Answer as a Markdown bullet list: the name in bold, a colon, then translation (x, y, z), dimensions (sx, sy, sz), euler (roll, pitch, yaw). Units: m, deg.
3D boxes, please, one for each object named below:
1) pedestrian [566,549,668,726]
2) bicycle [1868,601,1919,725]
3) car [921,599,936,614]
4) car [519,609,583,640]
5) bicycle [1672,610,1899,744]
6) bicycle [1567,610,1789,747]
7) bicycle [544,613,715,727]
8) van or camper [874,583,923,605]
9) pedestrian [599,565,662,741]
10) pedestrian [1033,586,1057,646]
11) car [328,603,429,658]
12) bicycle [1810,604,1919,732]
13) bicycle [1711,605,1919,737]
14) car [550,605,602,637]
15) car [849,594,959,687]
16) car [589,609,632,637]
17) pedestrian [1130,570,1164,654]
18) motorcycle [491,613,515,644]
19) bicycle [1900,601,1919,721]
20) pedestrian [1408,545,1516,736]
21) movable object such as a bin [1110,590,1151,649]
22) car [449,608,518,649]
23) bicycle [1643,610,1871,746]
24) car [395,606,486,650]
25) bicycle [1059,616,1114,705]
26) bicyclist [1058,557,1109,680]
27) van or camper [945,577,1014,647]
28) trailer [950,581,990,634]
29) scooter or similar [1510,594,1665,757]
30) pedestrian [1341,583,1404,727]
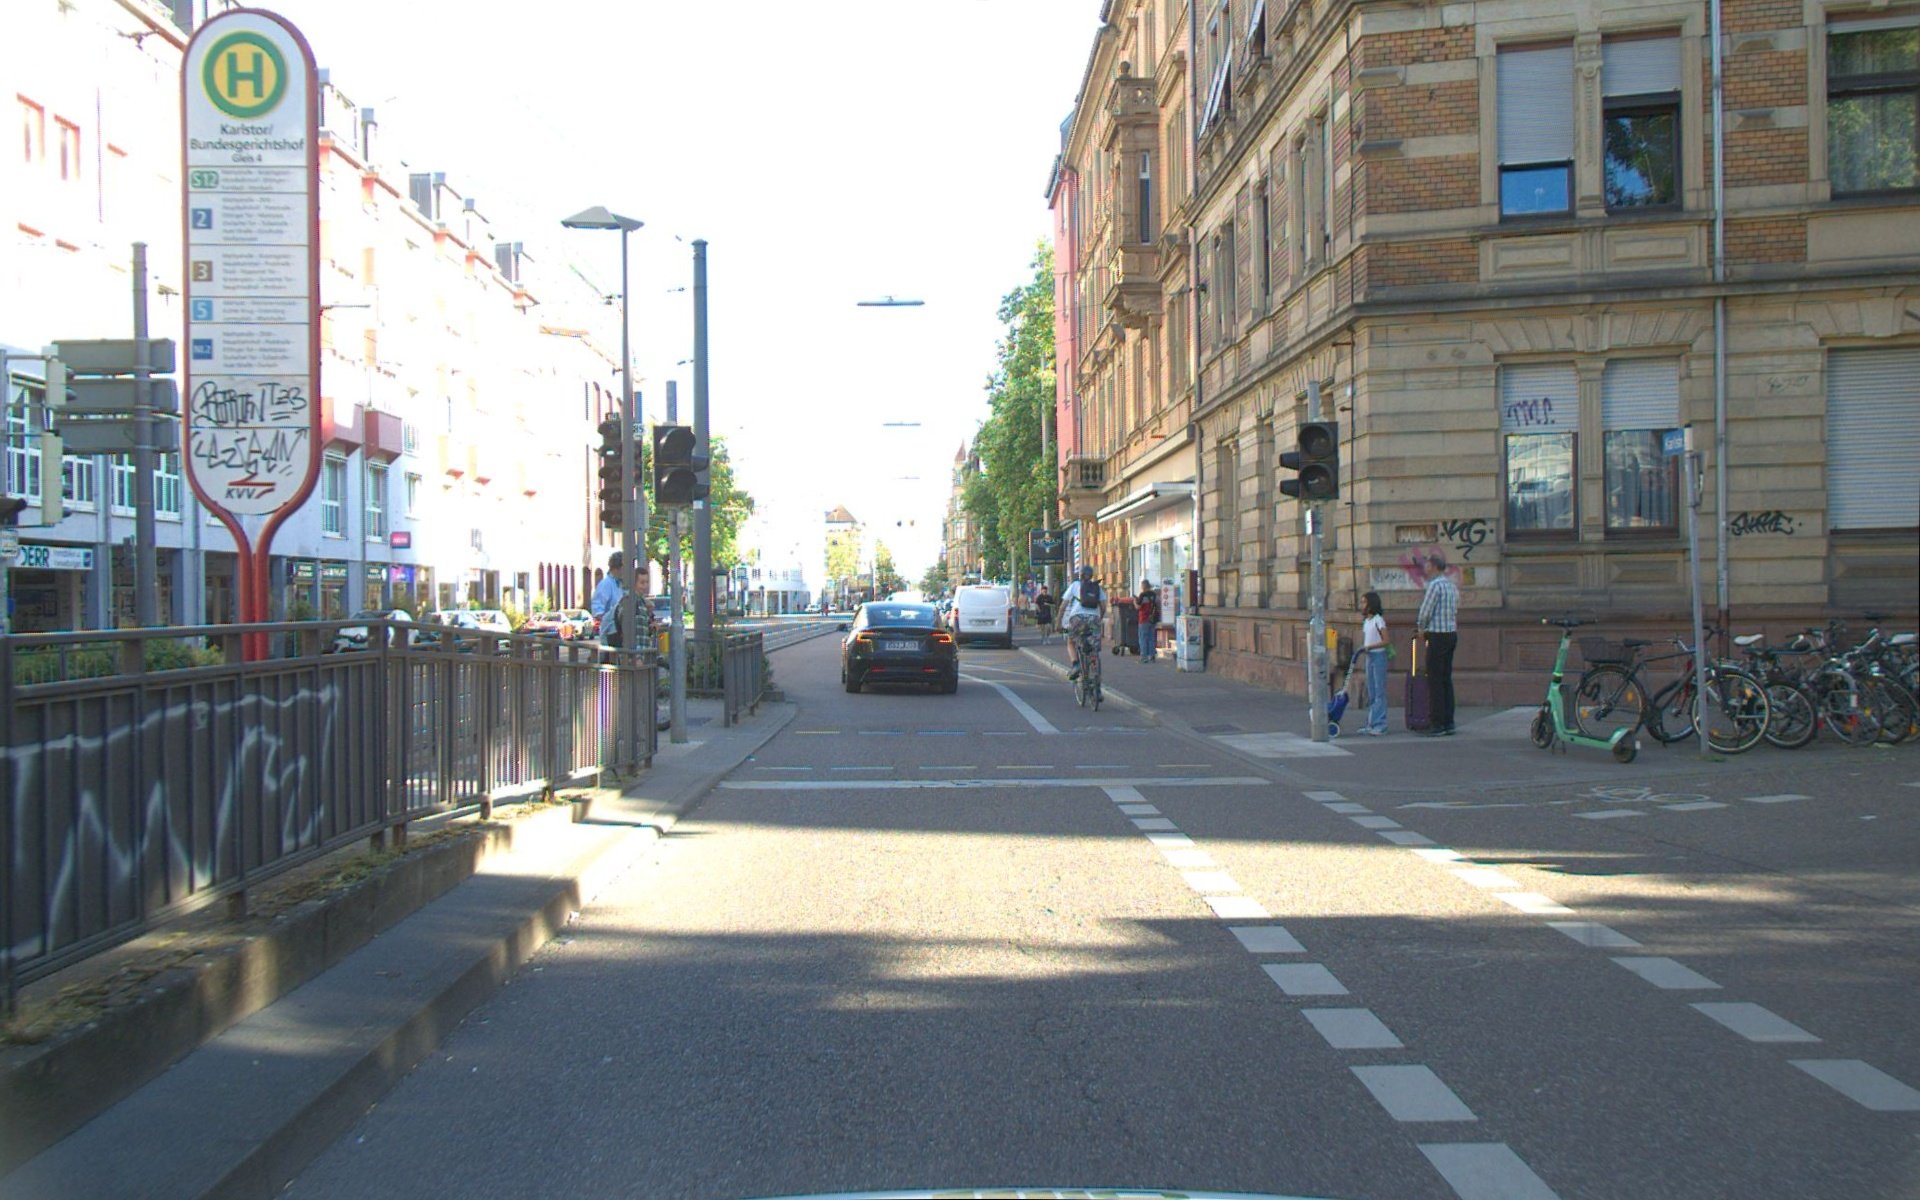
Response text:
- **pedestrian**: translation (-3.688, 0.388, 17.830), dimensions (0.582, 1.853, 0.940), euler (1, 0, 31)
- **bicycle**: translation (9.296, 0.572, 15.028), dimensions (0.440, 1.134, 1.787), euler (-1, 0, -42)
- **car**: translation (-3.288, 0.697, 173.655), dimensions (1.561, 1.458, 3.685), euler (-1, -1, -1)
- **car**: translation (-18.632, 1.099, 75.525), dimensions (1.921, 1.348, 4.818), euler (1, 0, -2)
- **bicycle**: translation (7.415, 0.664, 14.926), dimensions (0.440, 1.134, 1.787), euler (-1, 0, -42)
- **bicycle**: translation (6.349, 0.669, 14.713), dimensions (0.440, 1.134, 1.787), euler (-1, 0, -41)
- **bicycle**: translation (-3.593, 0.738, 17.929), dimensions (1.904, 1.113, 0.597), euler (2, 0, 32)
- **van or camper**: translation (-8.459, -0.832, 226.942), dimensions (6.809, 2.700, 2.118), euler (-2, 0, -38)
- **pedestrian**: translation (-3.121, 0.491, 15.715), dimensions (0.508, 1.618, 0.665), euler (2, -1, -11)
- **pedestrian**: translation (2.617, 0.492, 50.982), dimensions (0.659, 1.846, 0.755), euler (-1, -1, -2)
- **car**: translation (-18.248, 0.917, 52.092), dimensions (1.879, 1.642, 4.366), euler (-1, 0, -4)
- **bicycle**: translation (8.705, 0.608, 14.932), dimensions (0.440, 1.134, 1.787), euler (-1, 0, -42)
- **bicycle**: translation (7.868, 0.624, 15.137), dimensions (0.440, 1.134, 1.787), euler (-1, 0, -42)
- **car**: translation (-18.787, 0.998, 81.131), dimensions (1.635, 1.494, 4.289), euler (1, 0, -2)
- **car**: translation (-0.941, 0.623, 27.352), dimensions (1.685, 1.430, 3.708), euler (0, 0, -2)
- **car**: translation (-19.117, 1.240, 90.624), dimensions (1.625, 1.447, 3.619), euler (1, 0, -2)
- **pedestrian**: translation (3.964, 0.252, 34.992), dimensions (0.461, 1.759, 0.586), euler (-1, 1, 34)
- **motorcycle**: translation (-20.108, 1.240, 72.792), dimensions (0.508, 1.320, 2.081), euler (1, 0, -2)
- **bicycle**: translation (9.747, 0.569, 15.281), dimensions (0.440, 1.134, 1.787), euler (-1, 0, -42)
- **pedestrian**: translation (5.004, 0.389, 16.530), dimensions (0.829, 1.839, 0.876), euler (-1, 1, 3)
- **movable object such as a bin**: translation (4.045, 0.455, 39.362), dimensions (0.760, 1.371, 1.298), euler (-1, 0, -3)
- **car**: translation (-18.476, 1.086, 64.235), dimensions (1.717, 1.500, 4.204), euler (-1, 0, -4)
- **bicycle**: translation (7.032, 0.662, 14.664), dimensions (0.440, 1.134, 1.787), euler (-1, 0, -41)
- **car**: translation (-18.509, 0.968, 59.128), dimensions (1.863, 1.483, 4.824), euler (-1, 0, -2)
- **bicycle**: translation (1.745, 0.815, 23.048), dimensions (0.634, 1.159, 2.095), euler (0, 0, 1)
- **bicyclist**: translation (1.718, 0.261, 23.146), dimensions (0.641, 1.685, 0.927), euler (0, 0, 0)
- **van or camper**: translation (0.561, 0.402, 52.285), dimensions (1.892, 2.072, 5.473), euler (1, -1, -2)
- **trailer**: translation (0.421, 0.319, 69.693), dimensions (1.627, 2.154, 3.842), euler (1, 0, 0)
- **scooter or similar**: translation (5.353, 0.610, 14.195), dimensions (0.384, 1.312, 1.515), euler (-1, 0, -17)
- **pedestrian**: translation (4.235, 0.553, 17.005), dimensions (0.562, 1.439, 0.581), euler (1, 0, 9)
